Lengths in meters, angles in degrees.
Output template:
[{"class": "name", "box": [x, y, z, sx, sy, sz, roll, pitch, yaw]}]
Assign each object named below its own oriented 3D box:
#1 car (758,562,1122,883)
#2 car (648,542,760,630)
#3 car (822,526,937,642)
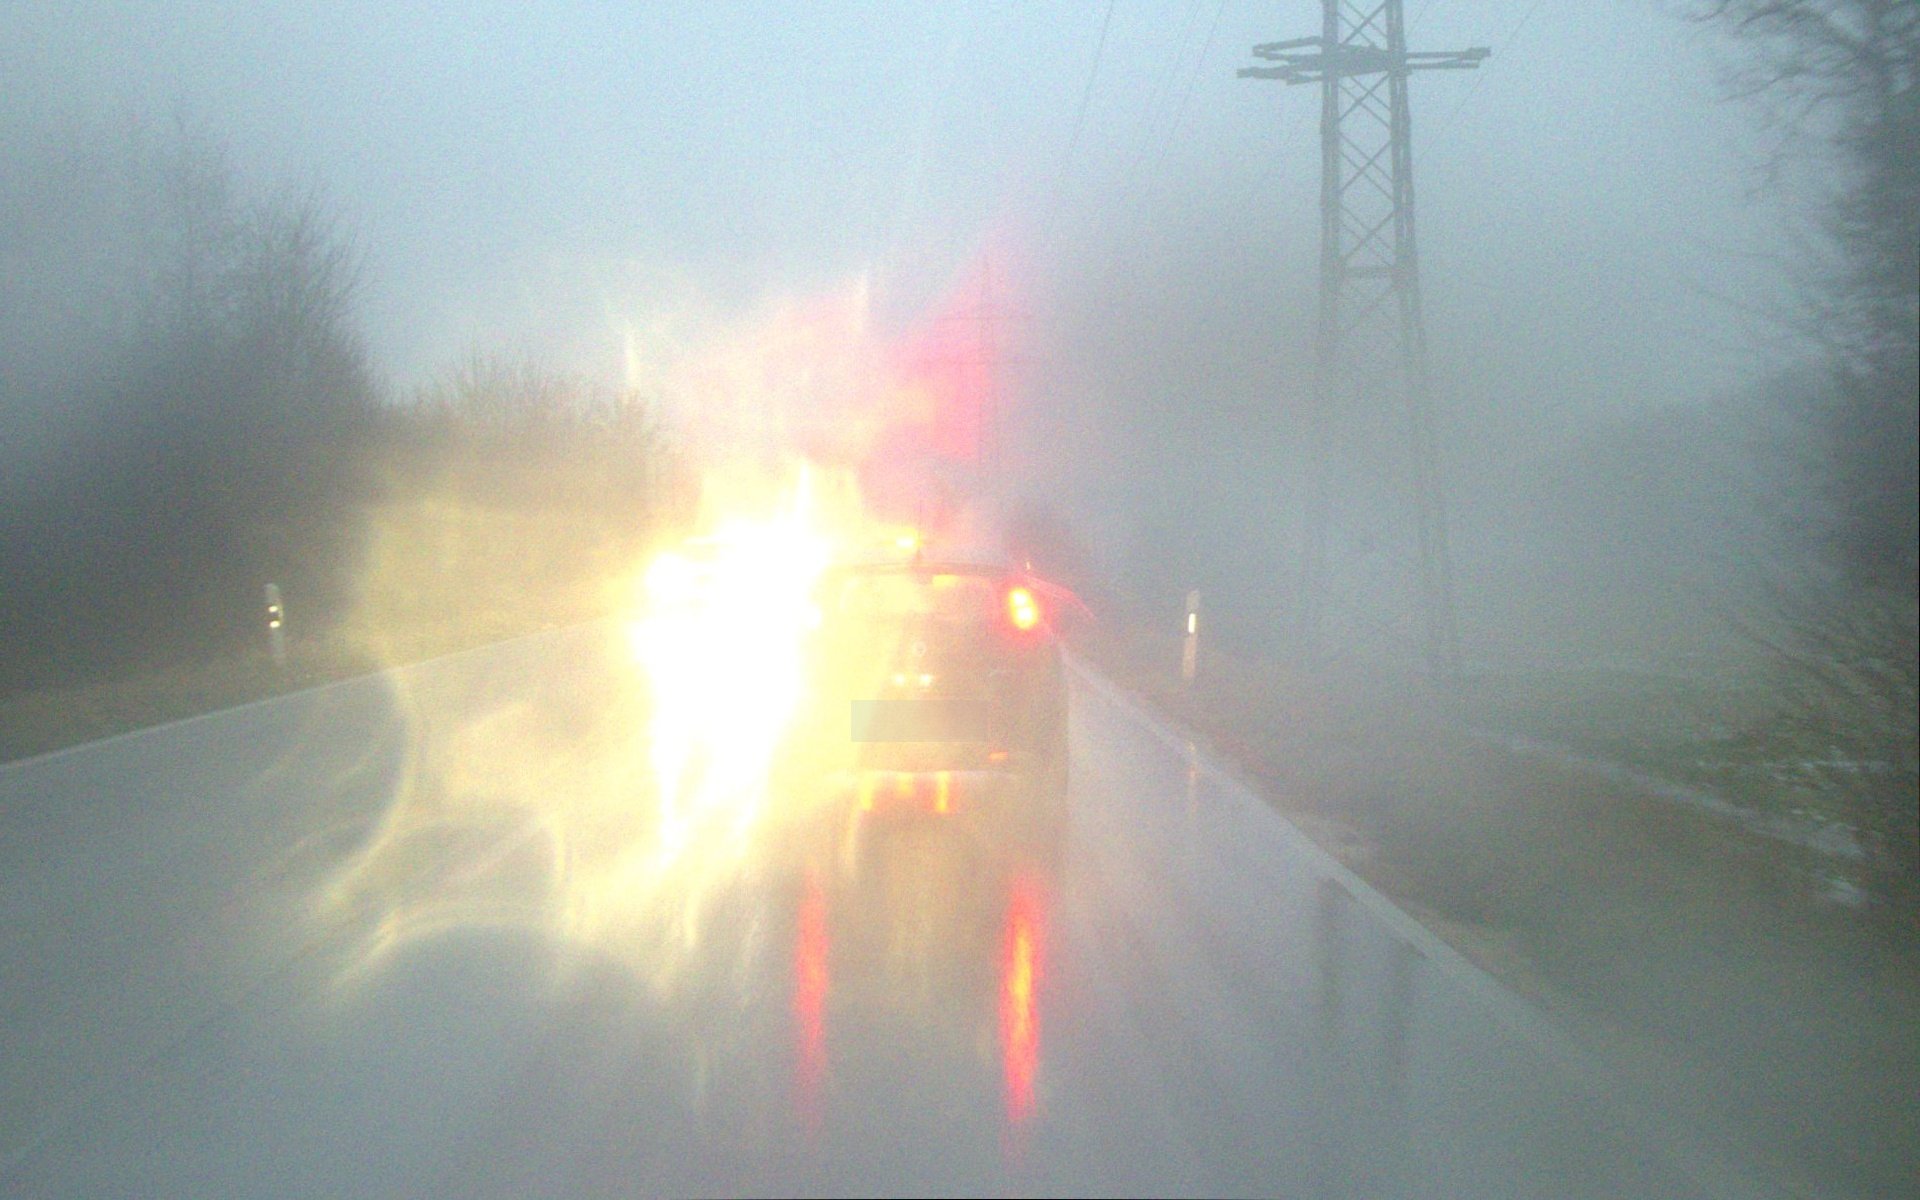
[{"class": "car", "box": [-0.142, 0.653, 20.939, 1.993, 1.746, 4.000, 0, 1, -1]}, {"class": "car", "box": [-4.981, -0.299, 67.348, 1.807, 1.531, 4.408, 5, 1, -1]}, {"class": "car", "box": [-1.440, -0.315, 62.538, 1.993, 2.007, 4.000, -1, 1, -1]}]
